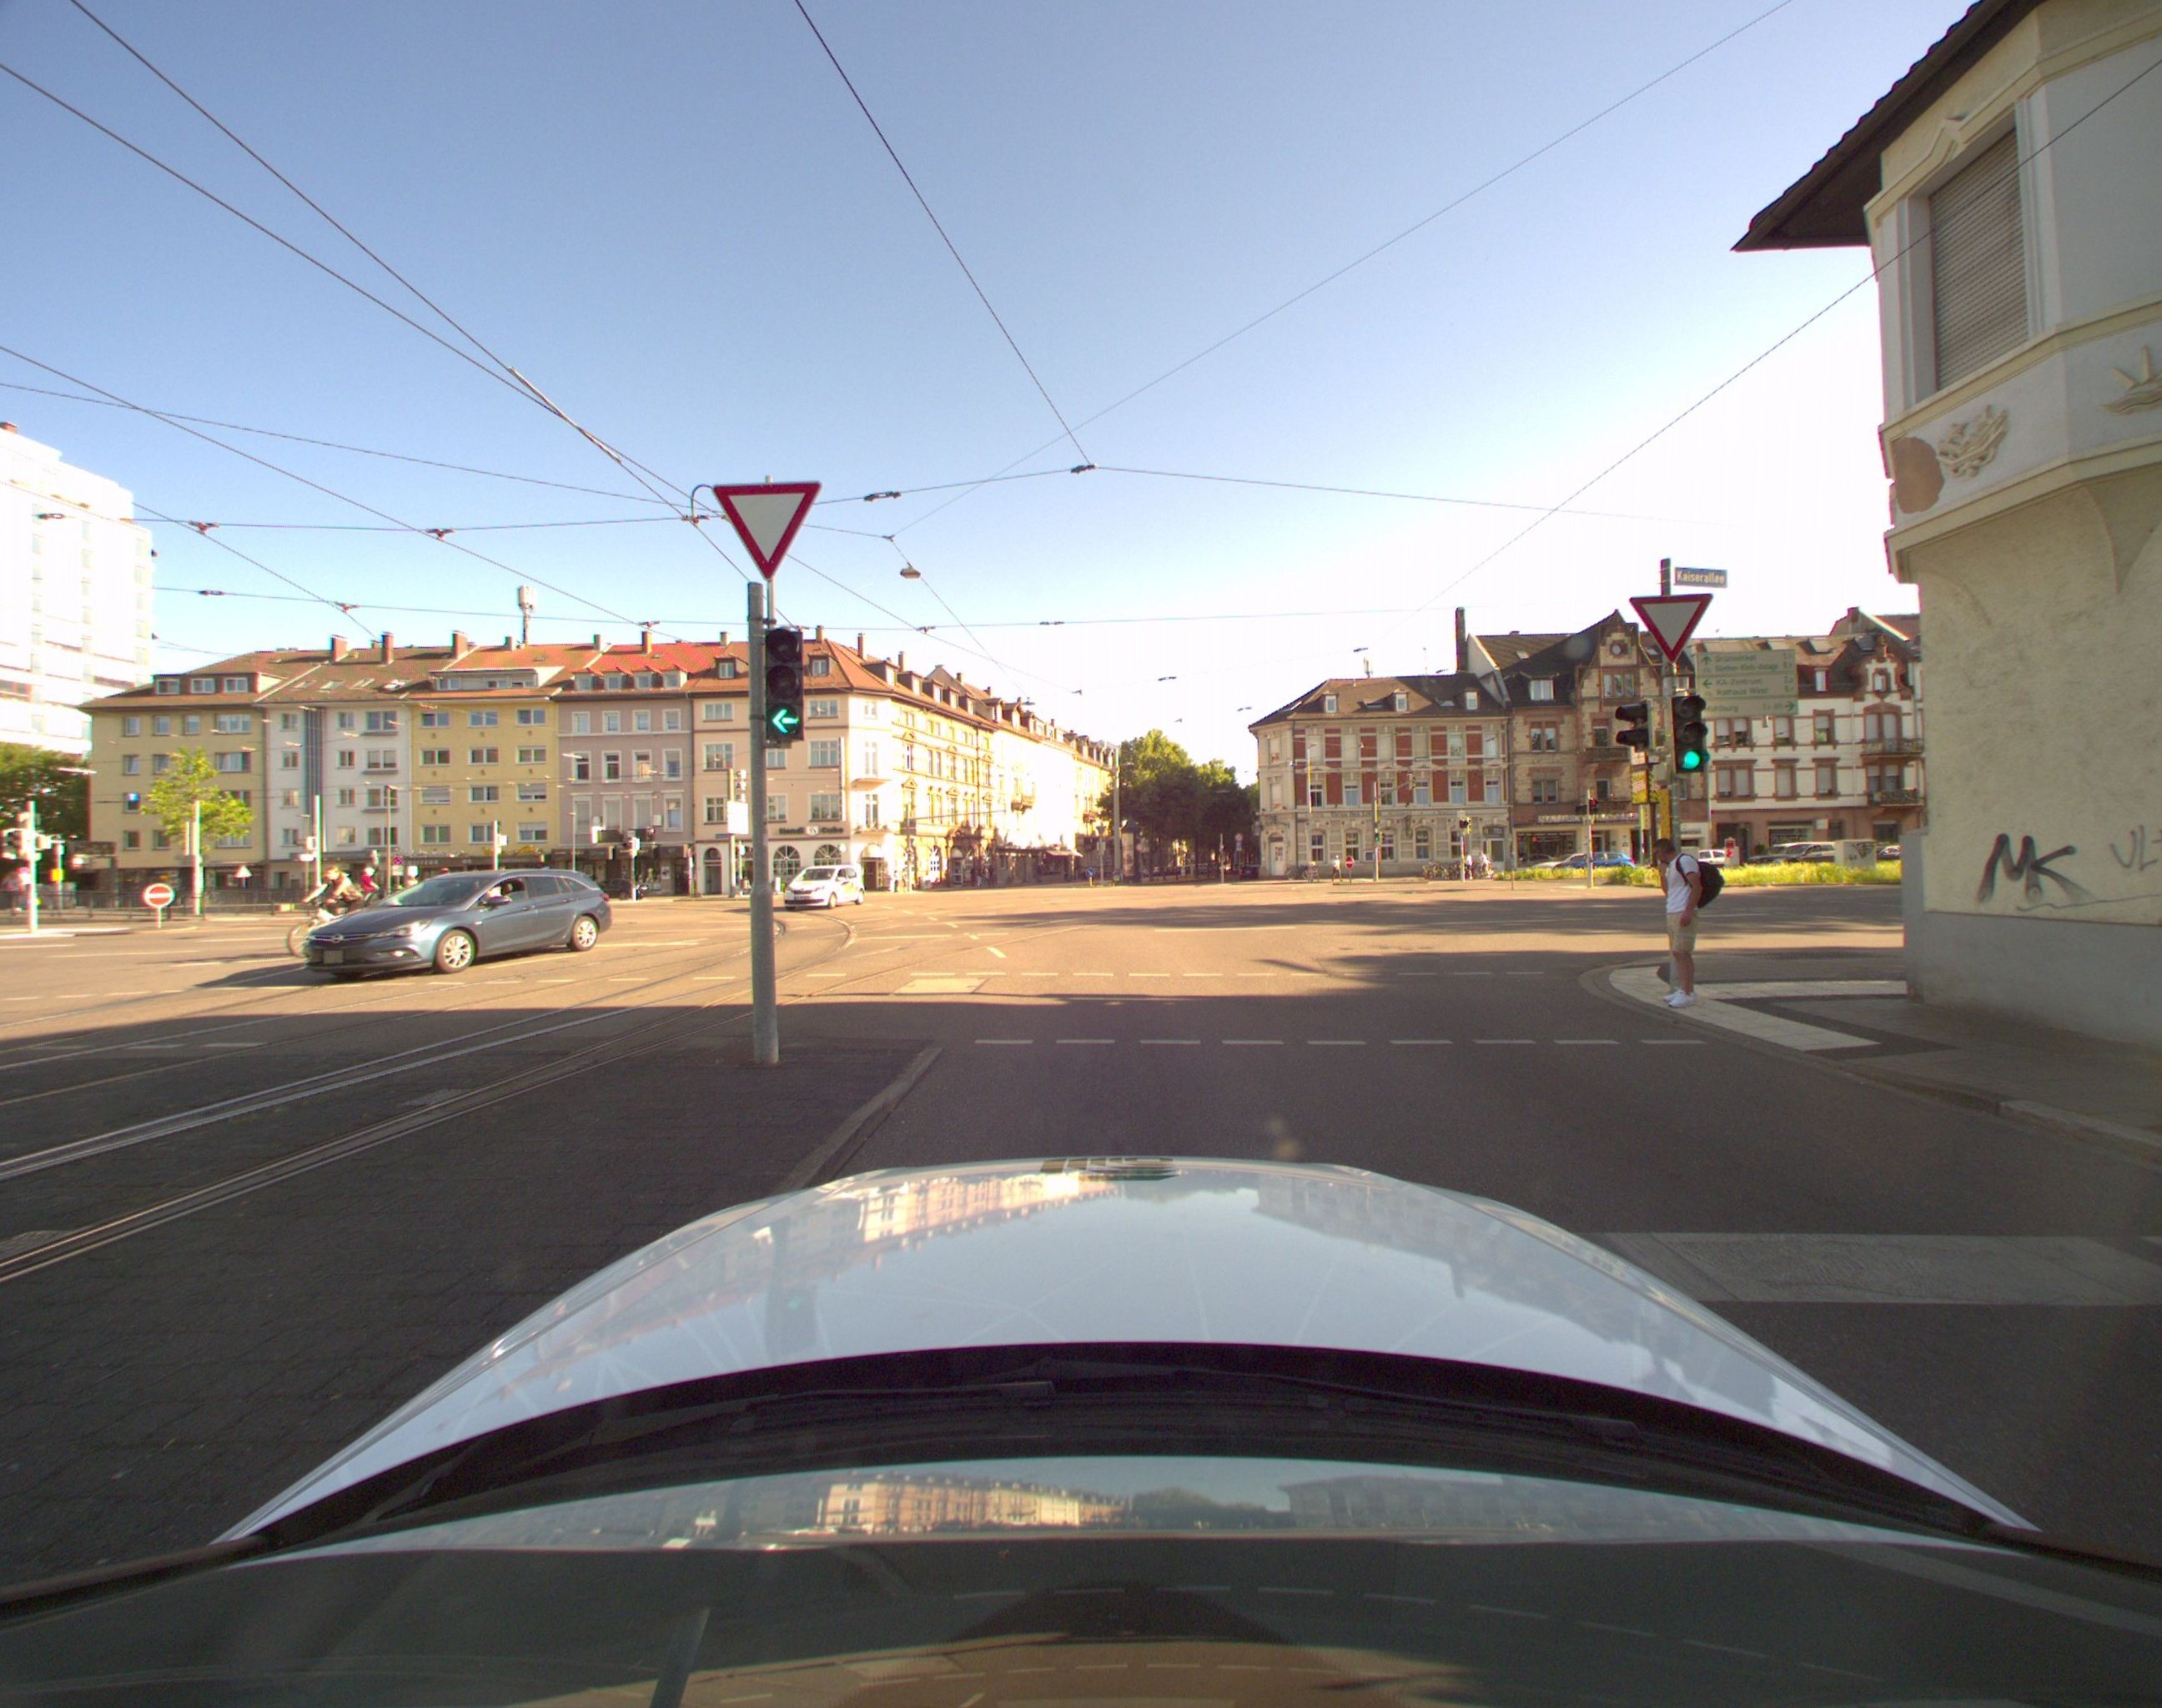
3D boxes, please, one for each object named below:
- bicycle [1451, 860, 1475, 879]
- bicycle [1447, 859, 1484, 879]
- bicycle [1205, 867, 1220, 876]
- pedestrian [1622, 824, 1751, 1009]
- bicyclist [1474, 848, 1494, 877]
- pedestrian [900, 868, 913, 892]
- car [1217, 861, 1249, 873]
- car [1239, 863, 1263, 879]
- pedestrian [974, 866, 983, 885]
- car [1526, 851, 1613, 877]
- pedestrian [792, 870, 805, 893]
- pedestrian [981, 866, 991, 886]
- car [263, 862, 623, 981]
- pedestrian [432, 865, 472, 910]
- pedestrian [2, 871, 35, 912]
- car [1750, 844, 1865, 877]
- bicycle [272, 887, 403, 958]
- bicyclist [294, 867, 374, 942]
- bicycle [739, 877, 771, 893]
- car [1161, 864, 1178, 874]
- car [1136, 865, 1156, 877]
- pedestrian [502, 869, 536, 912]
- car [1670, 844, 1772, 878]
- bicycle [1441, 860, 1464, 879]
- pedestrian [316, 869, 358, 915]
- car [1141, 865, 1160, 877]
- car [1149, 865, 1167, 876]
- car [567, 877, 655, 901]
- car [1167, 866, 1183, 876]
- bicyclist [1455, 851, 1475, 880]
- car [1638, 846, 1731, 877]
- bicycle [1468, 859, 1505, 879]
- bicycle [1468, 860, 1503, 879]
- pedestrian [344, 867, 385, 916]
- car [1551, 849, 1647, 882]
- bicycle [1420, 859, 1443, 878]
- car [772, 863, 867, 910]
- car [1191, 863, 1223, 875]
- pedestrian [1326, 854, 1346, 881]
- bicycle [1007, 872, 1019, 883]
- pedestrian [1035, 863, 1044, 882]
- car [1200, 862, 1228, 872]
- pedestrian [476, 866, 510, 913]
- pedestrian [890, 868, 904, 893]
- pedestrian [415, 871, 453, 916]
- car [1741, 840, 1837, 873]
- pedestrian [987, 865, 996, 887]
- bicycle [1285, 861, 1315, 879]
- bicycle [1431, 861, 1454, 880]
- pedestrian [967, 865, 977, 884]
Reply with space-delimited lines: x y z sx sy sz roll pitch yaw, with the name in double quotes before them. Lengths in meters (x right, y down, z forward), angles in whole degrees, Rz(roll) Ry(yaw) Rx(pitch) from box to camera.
"bicycle" 24.555 0.997 52.389 0.674 1.191 1.969 -2 -1 3
"bicycle" 23.673 0.928 50.160 1.952 1.191 0.602 -2 -1 4
"bicycle" 15.936 2.067 98.688 0.586 1.067 1.928 -1 -1 -34
"pedestrian" 6.100 0.605 8.223 0.691 1.740 0.668 -4 -2 -26
"bicyclist" 25.257 0.530 51.040 0.899 1.764 0.602 -2 -1 3
"pedestrian" -12.293 1.808 57.332 0.626 1.642 0.554 -2 -1 15
"car" 21.559 1.815 115.552 3.948 1.545 2.013 -2 -1 32
"car" 17.068 1.732 81.818 1.978 1.497 4.051 -2 -1 16
"pedestrian" -8.823 1.823 69.953 0.546 1.642 0.540 -2 -1 19
"car" 28.541 0.580 47.675 3.973 1.412 1.846 -2 -1 1
"pedestrian" -18.833 1.849 54.336 0.658 1.524 0.692 -1 -1 -11
"pedestrian" -8.180 1.890 69.959 0.546 1.642 0.636 -2 -1 19
"car" -9.601 0.903 12.874 1.765 1.497 4.580 -2 -1 6
"pedestrian" -25.161 1.331 32.587 0.899 1.733 0.841 -1 -1 2
"pedestrian" -41.563 1.469 31.868 0.722 1.568 0.599 -2 -2 22
"car" 39.489 0.355 44.351 4.456 1.668 1.955 -2 -1 1
"bicycle" -13.953 1.251 15.370 0.482 1.166 1.962 -2 -1 8
"bicyclist" -13.984 0.935 15.264 0.600 1.340 0.900 -2 -1 9
"bicycle" -22.775 2.162 56.947 1.940 1.067 0.582 -1 -1 -6
"car" 14.228 2.399 131.315 1.978 1.497 4.051 -2 -1 16
"car" 9.005 2.372 112.489 1.978 1.497 4.051 -2 -1 16
"pedestrian" -23.064 1.484 33.422 0.785 1.733 0.823 -1 -1 -3
"car" 34.834 0.382 44.414 3.973 1.668 1.955 -2 -1 1
"bicycle" 23.882 0.984 52.413 0.674 1.191 1.969 -2 -1 3
"pedestrian" -27.154 1.387 29.728 0.855 1.631 0.812 -2 -1 19
"car" 9.979 2.433 116.954 1.978 1.497 4.051 -2 -1 16
"car" 11.598 2.455 122.154 1.978 1.497 4.051 -2 -1 16
"car" -30.665 2.258 53.208 4.626 1.440 1.743 -1 -1 -1
"car" 15.646 2.863 135.991 1.978 1.497 4.051 -2 -1 16
"bicyclist" 23.650 0.684 50.172 0.869 1.764 0.602 -2 -1 4
"car" 35.206 0.445 47.582 3.973 1.668 1.955 -2 -1 1
"bicycle" 25.379 0.941 50.942 1.953 1.191 0.602 -2 -1 2
"bicycle" 25.778 0.994 51.960 1.961 1.191 0.677 -1 -1 -10
"pedestrian" -26.185 1.367 29.773 0.815 1.724 0.853 -2 -1 24
"car" 28.347 0.637 44.682 3.973 1.668 1.955 -2 -1 1
"bicycle" 22.529 0.945 52.421 0.674 1.191 1.969 -2 -1 3
"car" -8.985 1.075 28.276 1.708 1.497 3.591 -2 -1 8
"car" 17.791 2.160 114.967 3.949 1.545 2.012 -2 -1 30
"pedestrian" 16.182 0.873 51.759 0.720 1.669 0.930 -1 -1 -31
"bicycle" -6.656 2.268 79.532 0.491 1.067 1.778 -2 -1 18
"pedestrian" -4.297 1.870 83.805 0.676 1.908 0.636 -2 -1 18
"car" 21.882 2.168 133.817 3.949 1.545 2.012 -2 -1 30
"pedestrian" -22.467 1.338 31.114 0.797 1.733 0.653 -1 -1 -2
"pedestrian" -12.636 1.829 55.927 0.670 1.642 0.580 -2 -1 15
"pedestrian" -25.257 1.530 31.808 0.818 1.733 0.789 -1 -1 2
"car" 45.268 0.146 52.143 4.388 1.965 1.955 -2 -1 1
"pedestrian" -7.763 1.903 70.693 0.575 1.836 0.636 -2 -1 18
"bicycle" 15.225 1.118 56.617 1.950 1.191 0.547 -2 -1 6
"bicycle" 23.234 1.064 52.428 0.674 1.191 1.969 -2 -1 3
"pedestrian" -9.376 1.762 70.107 0.622 1.642 0.540 -2 -1 19
